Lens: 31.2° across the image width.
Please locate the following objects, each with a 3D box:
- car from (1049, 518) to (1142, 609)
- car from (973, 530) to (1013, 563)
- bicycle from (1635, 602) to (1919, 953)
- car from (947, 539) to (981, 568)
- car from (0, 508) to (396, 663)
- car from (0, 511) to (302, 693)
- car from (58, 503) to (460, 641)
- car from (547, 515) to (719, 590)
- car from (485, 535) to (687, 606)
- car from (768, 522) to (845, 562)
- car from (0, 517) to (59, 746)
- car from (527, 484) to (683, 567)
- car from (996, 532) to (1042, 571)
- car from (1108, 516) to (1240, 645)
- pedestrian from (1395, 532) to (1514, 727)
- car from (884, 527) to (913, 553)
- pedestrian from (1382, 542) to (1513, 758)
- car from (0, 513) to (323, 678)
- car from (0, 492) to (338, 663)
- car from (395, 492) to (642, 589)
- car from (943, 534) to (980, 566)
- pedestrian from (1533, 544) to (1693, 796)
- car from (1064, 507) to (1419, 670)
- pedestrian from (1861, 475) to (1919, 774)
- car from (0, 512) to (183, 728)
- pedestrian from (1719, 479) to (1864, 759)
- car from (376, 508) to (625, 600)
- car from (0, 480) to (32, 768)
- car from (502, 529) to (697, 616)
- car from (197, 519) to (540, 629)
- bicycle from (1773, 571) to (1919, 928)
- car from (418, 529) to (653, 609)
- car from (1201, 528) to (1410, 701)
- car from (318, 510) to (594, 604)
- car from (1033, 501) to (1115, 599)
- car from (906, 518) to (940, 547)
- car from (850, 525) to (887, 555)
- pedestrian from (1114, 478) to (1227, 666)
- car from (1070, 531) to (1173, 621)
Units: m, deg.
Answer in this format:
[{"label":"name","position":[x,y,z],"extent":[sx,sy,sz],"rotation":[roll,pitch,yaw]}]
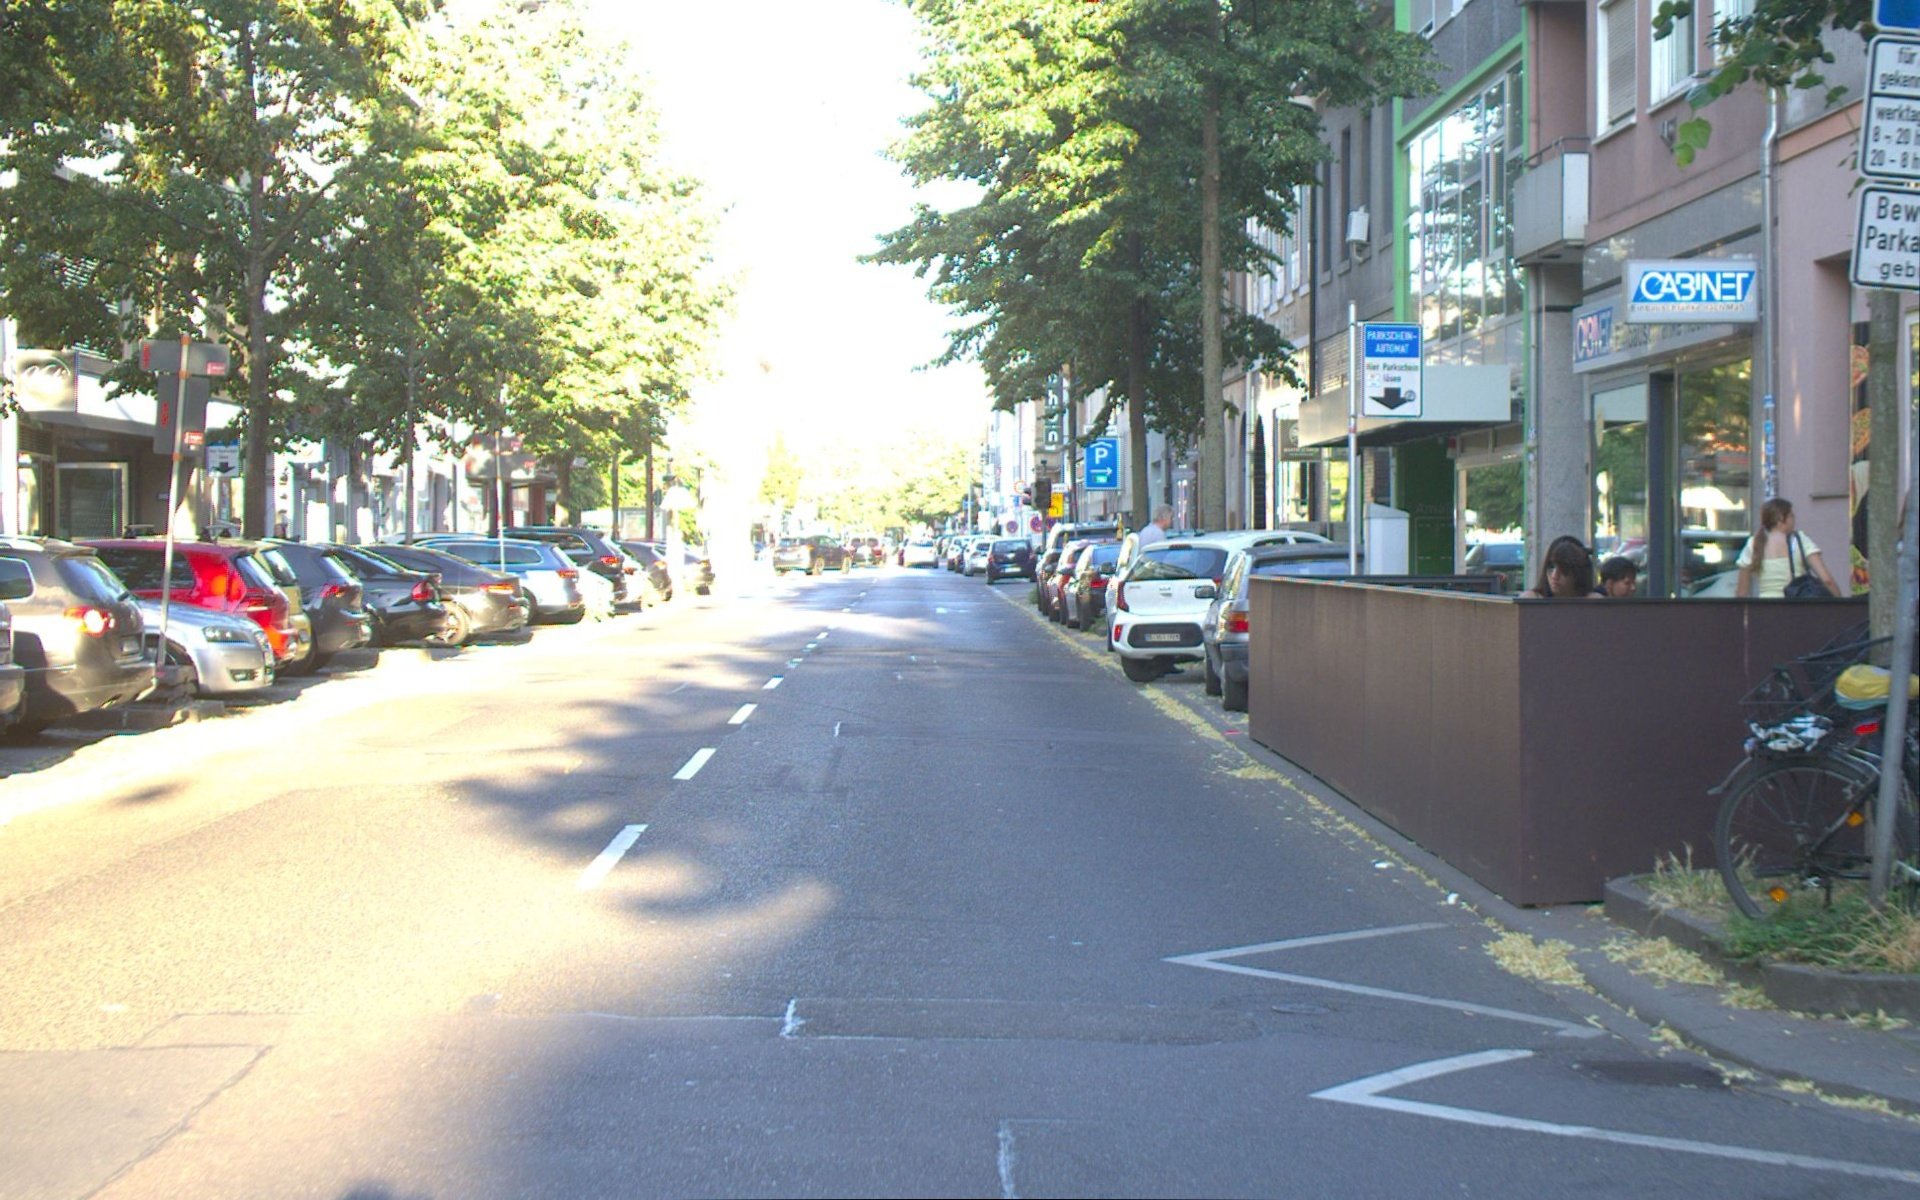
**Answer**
[{"label":"car","position":[2.390,-0.659,61.214],"extent":[1.513,1.556,3.514],"rotation":[1,1,0]},{"label":"car","position":[1.283,-2.061,133.388],"extent":[1.513,1.259,3.304],"rotation":[1,1,0]},{"label":"bicycle","position":[3.224,0.562,11.014],"extent":[1.958,1.070,0.704],"rotation":[1,1,31]},{"label":"car","position":[0.186,-2.091,156.221],"extent":[1.513,1.294,3.304],"rotation":[1,1,0]},{"label":"car","position":[-8.417,-0.169,36.778],"extent":[4.442,1.562,1.919],"rotation":[1,1,0]},{"label":"car","position":[-8.044,-0.015,29.487],"extent":[4.442,1.479,1.809],"rotation":[1,1,0]},{"label":"car","position":[-8.410,-0.349,41.490],"extent":[4.442,1.562,1.919],"rotation":[1,1,0]},{"label":"car","position":[-8.801,-1.294,92.797],"extent":[4.442,1.953,1.919],"rotation":[1,1,0]},{"label":"car","position":[-8.640,-0.688,79.600],"extent":[4.442,1.573,1.919],"rotation":[1,1,0]},{"label":"car","position":[-6.126,-2.292,137.232],"extent":[1.929,1.566,3.300],"rotation":[1,1,20]},{"label":"car","position":[-8.347,0.163,22.471],"extent":[4.442,1.462,1.780],"rotation":[1,1,0]},{"label":"car","position":[-10.595,-2.230,102.812],"extent":[4.442,2.426,1.919],"rotation":[1,1,0]},{"label":"car","position":[1.972,-1.607,115.121],"extent":[1.513,1.271,3.304],"rotation":[1,1,0]},{"label":"car","position":[2.699,-0.267,43.885],"extent":[1.513,1.572,3.218],"rotation":[1,1,1]},{"label":"pedestrian","position":[3.546,0.198,24.695],"extent":[0.726,1.373,0.781],"rotation":[0,1,0]},{"label":"car","position":[-3.483,-3.401,195.578],"extent":[1.570,1.500,3.304],"rotation":[0,1,0]},{"label":"pedestrian","position":[3.168,0.313,22.387],"extent":[0.726,1.373,0.781],"rotation":[0,1,0]},{"label":"car","position":[-8.291,-0.069,31.792],"extent":[4.442,1.453,1.859],"rotation":[1,1,0]},{"label":"car","position":[-8.650,-0.246,34.545],"extent":[4.442,1.633,1.859],"rotation":[1,1,0]},{"label":"car","position":[-8.362,-1.134,65.381],"extent":[4.442,1.753,1.919],"rotation":[1,1,0]},{"label":"car","position":[0.077,-2.416,167.521],"extent":[1.752,1.535,3.304],"rotation":[0,1,0]},{"label":"pedestrian","position":[3.635,0.376,19.181],"extent":[0.726,1.373,0.781],"rotation":[0,1,0]},{"label":"car","position":[2.966,-0.142,35.710],"extent":[1.674,1.583,3.814],"rotation":[2,2,42]},{"label":"pedestrian","position":[5.535,0.129,19.639],"extent":[0.631,1.674,0.891],"rotation":[0,1,8]},{"label":"car","position":[-8.078,0.099,24.970],"extent":[4.442,1.501,1.845],"rotation":[1,1,0]},{"label":"pedestrian","position":[4.928,0.097,20.429],"extent":[0.797,1.620,0.911],"rotation":[0,1,12]},{"label":"car","position":[-8.417,-0.850,63.282],"extent":[4.304,1.592,1.919],"rotation":[1,1,0]},{"label":"car","position":[-7.922,0.117,19.823],"extent":[4.571,1.692,2.060],"rotation":[1,1,0]},{"label":"car","position":[-8.623,-0.665,82.424],"extent":[4.442,2.008,1.919],"rotation":[1,1,0]},{"label":"car","position":[-8.203,-0.369,47.987],"extent":[4.442,1.443,1.919],"rotation":[1,1,0]},{"label":"bicycle","position":[3.351,0.494,12.474],"extent":[0.598,1.173,1.844],"rotation":[1,1,19]},{"label":"car","position":[-8.427,-0.626,68.508],"extent":[4.442,1.494,1.919],"rotation":[1,1,0]},{"label":"car","position":[3.016,0.087,30.574],"extent":[1.543,1.428,3.678],"rotation":[1,1,1]},{"label":"car","position":[-8.609,-0.745,58.957],"extent":[4.442,1.517,1.919],"rotation":[1,1,0]},{"label":"car","position":[2.224,-0.973,67.774],"extent":[1.513,1.858,4.235],"rotation":[1,1,1]},{"label":"car","position":[-1.919,-3.539,180.956],"extent":[1.721,1.470,3.304],"rotation":[0,1,0]},{"label":"car","position":[-4.670,-3.063,175.568],"extent":[1.752,1.535,3.304],"rotation":[0,1,0]},{"label":"pedestrian","position":[2.201,-0.300,36.126],"extent":[0.916,1.919,1.018],"rotation":[1,1,-10]},{"label":"car","position":[2.599,-0.412,56.018],"extent":[1.513,1.401,3.837],"rotation":[1,1,0]}]
